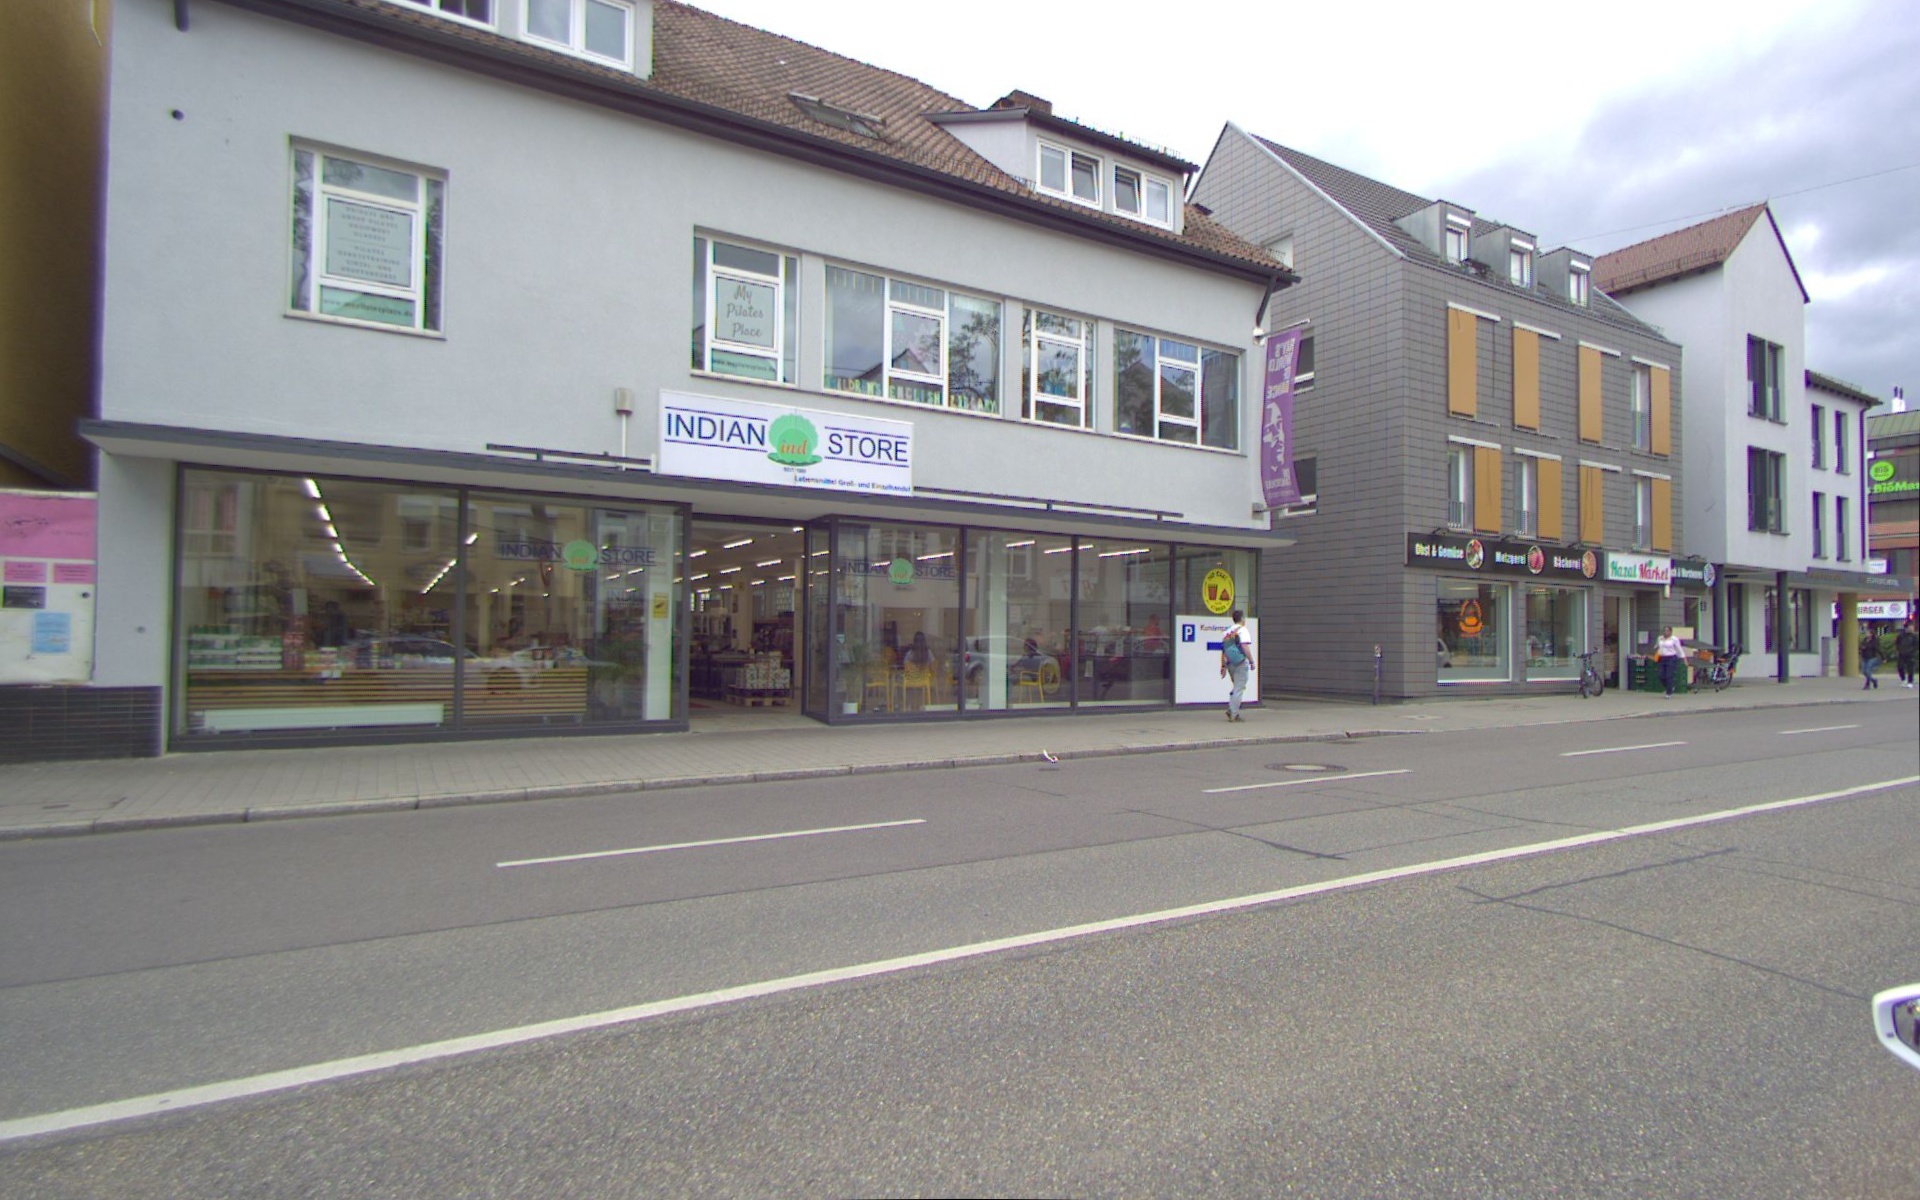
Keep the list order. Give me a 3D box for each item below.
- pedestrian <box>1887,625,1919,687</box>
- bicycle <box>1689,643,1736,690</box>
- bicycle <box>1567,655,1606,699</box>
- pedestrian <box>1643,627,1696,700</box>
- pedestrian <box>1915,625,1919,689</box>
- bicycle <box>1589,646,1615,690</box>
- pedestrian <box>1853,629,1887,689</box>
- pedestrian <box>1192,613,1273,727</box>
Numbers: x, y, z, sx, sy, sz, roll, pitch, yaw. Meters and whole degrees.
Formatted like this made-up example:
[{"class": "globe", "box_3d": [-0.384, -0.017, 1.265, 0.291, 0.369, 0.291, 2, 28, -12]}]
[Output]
[{"class": "pedestrian", "box_3d": [27.858, 1.634, 29.651, 0.640, 1.799, 0.565, 1, -2, -34]}, {"class": "bicycle", "box_3d": [20.033, 1.761, 26.728, 1.806, 1.201, 0.384, 1, -2, -33]}, {"class": "bicycle", "box_3d": [14.354, 1.751, 23.002, 1.472, 0.966, 0.323, 2, -2, -41]}, {"class": "pedestrian", "box_3d": [16.250, 1.431, 23.012, 0.744, 1.631, 0.725, 1, -2, -30]}, {"class": "pedestrian", "box_3d": [27.789, 1.620, 28.667, 0.644, 1.814, 0.676, 1, -2, -40]}, {"class": "bicycle", "box_3d": [17.075, 1.799, 26.703, 0.382, 1.142, 1.283, -1, -2, 41]}, {"class": "pedestrian", "box_3d": [25.859, 1.657, 28.536, 0.555, 1.672, 0.646, 1, -2, -42]}, {"class": "pedestrian", "box_3d": [4.336, 1.089, 15.997, 0.969, 1.728, 0.750, 1, 1, -30]}]
